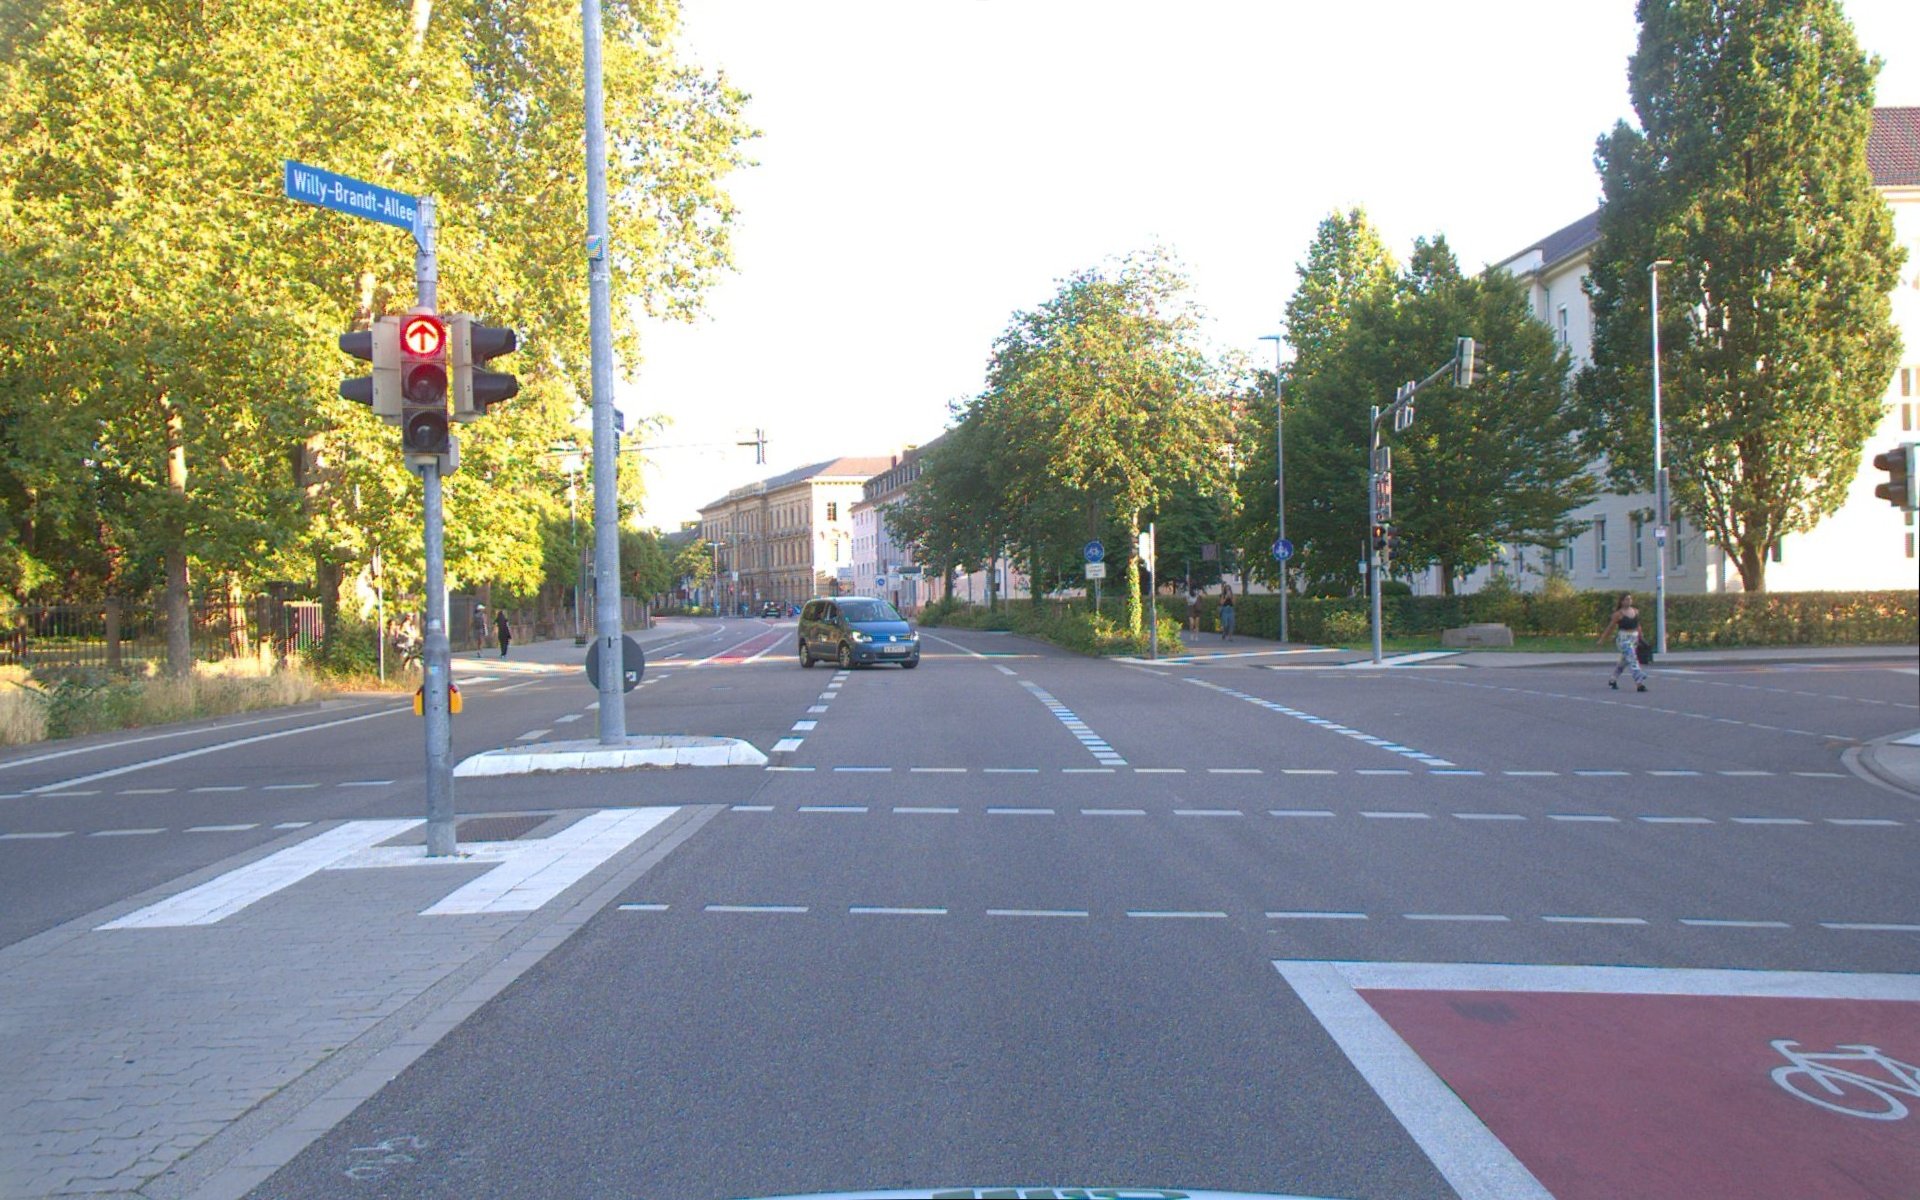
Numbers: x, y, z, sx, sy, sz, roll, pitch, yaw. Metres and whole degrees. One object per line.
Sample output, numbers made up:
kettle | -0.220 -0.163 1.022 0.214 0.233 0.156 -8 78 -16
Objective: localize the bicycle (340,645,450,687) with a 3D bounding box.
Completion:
bicycle | -13.702 1.596 40.125 2.380 0.940 0.775 -1 0 0

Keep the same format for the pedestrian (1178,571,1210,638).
pedestrian | 7.220 0.150 51.019 0.852 2.049 0.722 0 0 -1

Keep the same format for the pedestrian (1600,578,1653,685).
pedestrian | 10.564 0.485 26.229 0.587 1.664 0.691 0 0 1

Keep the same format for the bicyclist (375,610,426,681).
bicyclist | -13.567 1.095 40.132 0.938 1.659 0.752 -1 0 0

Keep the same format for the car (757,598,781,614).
car | -19.569 0.622 169.389 1.789 1.616 3.984 -2 0 -15

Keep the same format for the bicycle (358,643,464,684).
bicycle | -13.855 1.596 41.785 2.380 0.940 0.775 -1 0 0

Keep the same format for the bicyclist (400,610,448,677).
bicyclist | -13.541 1.089 41.786 0.938 1.659 0.752 -1 0 0

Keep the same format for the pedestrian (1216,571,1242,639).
pedestrian | 8.203 0.145 50.423 0.622 2.049 0.720 0 0 -5

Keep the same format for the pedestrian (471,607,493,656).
pedestrian | -15.990 1.049 55.372 0.524 1.624 0.590 -1 0 -1

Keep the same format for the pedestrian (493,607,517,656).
pedestrian | -15.217 1.047 55.351 0.587 1.601 0.646 -1 0 -1

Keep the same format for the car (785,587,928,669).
car | -2.469 0.627 38.392 1.827 1.750 4.259 -1 0 -26
